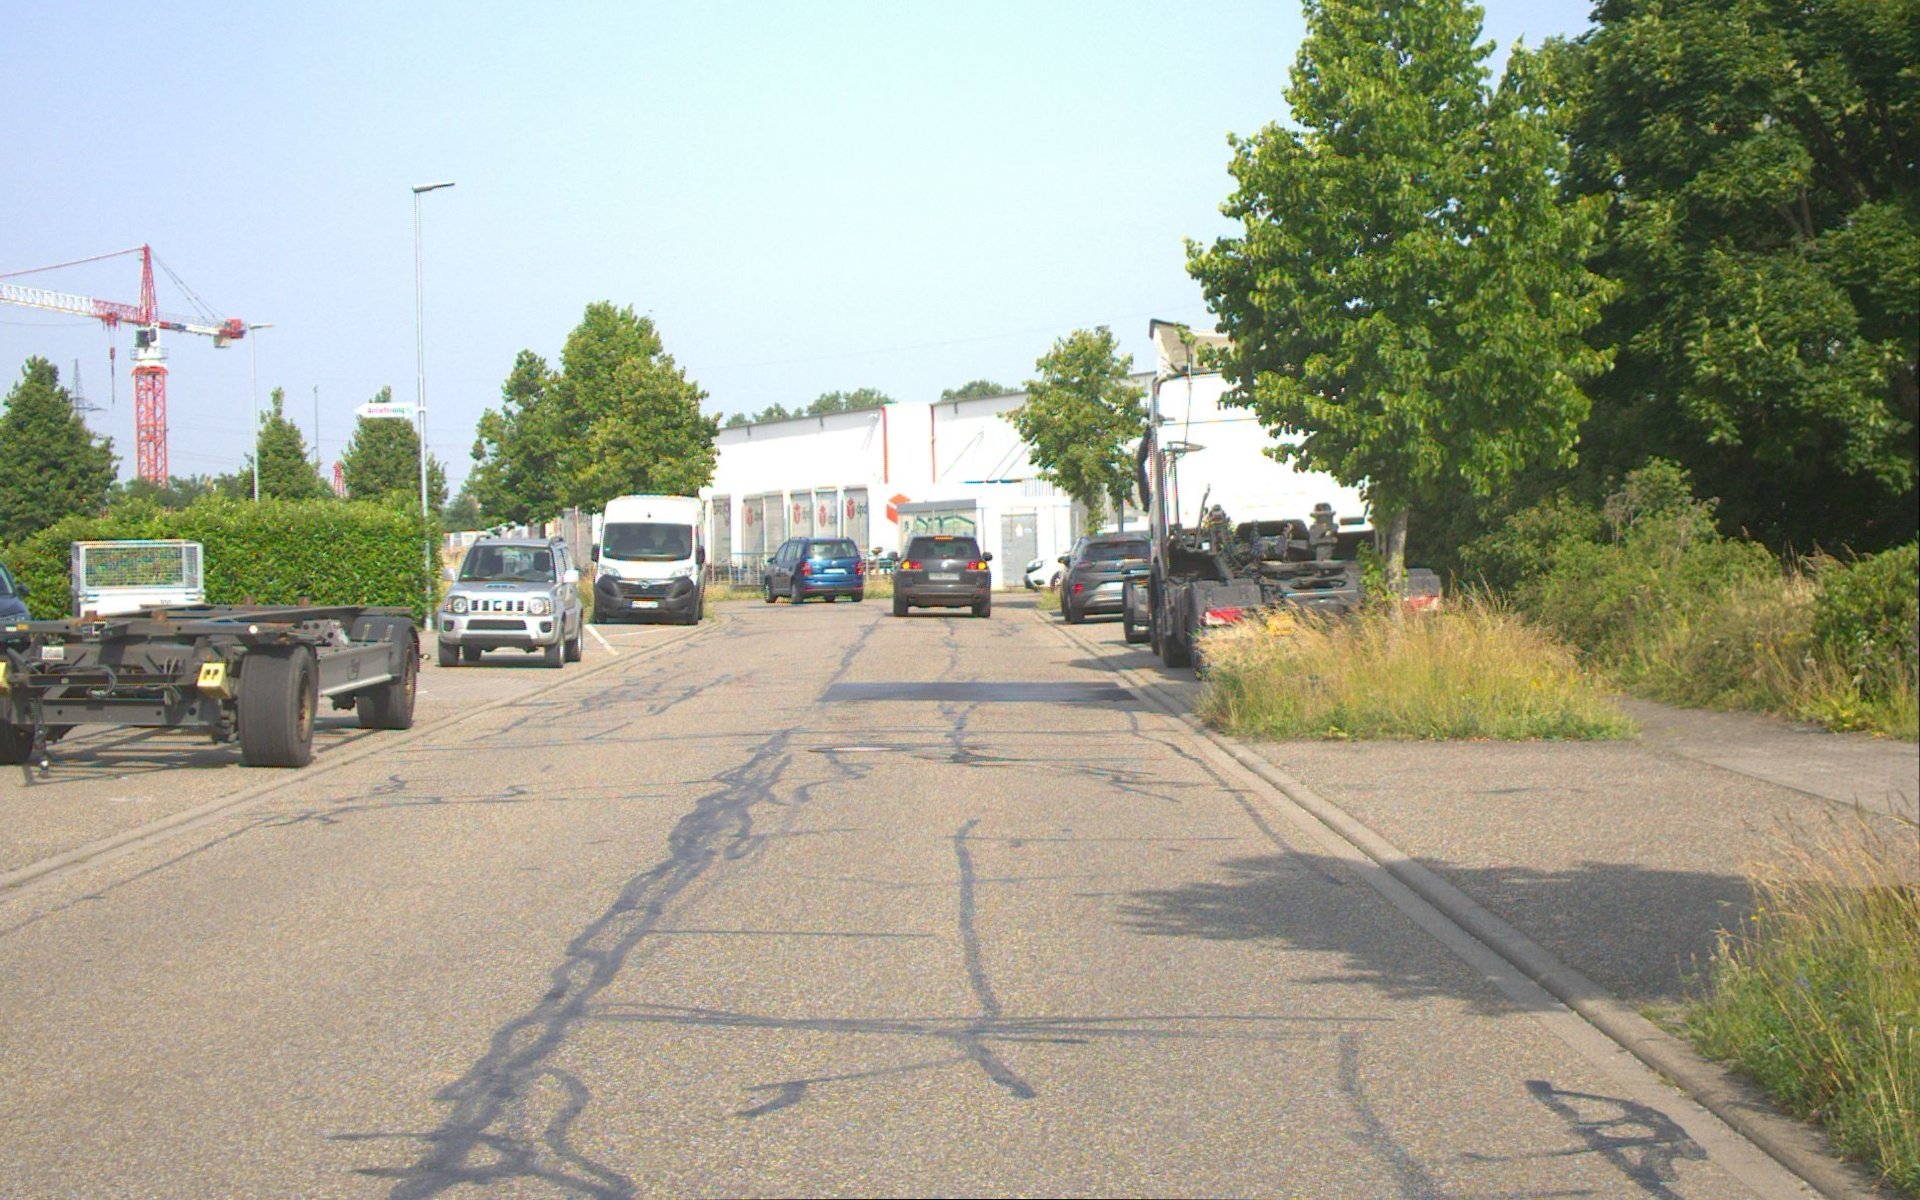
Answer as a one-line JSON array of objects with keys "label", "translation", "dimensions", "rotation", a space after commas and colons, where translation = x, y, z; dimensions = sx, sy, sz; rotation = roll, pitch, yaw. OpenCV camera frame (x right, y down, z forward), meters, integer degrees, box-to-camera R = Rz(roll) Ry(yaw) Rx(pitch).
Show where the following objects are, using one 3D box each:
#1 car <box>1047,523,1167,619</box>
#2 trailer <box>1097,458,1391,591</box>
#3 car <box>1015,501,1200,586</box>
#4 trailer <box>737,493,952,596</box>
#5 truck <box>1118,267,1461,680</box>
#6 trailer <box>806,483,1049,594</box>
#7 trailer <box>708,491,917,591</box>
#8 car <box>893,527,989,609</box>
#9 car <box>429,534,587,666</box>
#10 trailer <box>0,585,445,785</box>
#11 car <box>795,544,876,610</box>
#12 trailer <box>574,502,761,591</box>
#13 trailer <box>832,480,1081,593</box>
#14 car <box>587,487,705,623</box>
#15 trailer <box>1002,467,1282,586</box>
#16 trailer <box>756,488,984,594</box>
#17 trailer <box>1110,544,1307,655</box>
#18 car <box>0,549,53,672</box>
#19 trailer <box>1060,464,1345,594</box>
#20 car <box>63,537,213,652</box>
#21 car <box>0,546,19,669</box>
[{"label": "car", "translation": [2.573, -0.515, 61.177], "dimensions": [1.880, 1.568, 4.113], "rotation": [-2, 0, 0]}, {"label": "trailer", "translation": [8.735, -2.330, 105.613], "dimensions": [8.534, 3.881, 2.776], "rotation": [-1, -2, -21]}, {"label": "car", "translation": [3.808, -1.460, 89.376], "dimensions": [4.609, 2.103, 2.128], "rotation": [-1, 0, -2]}, {"label": "trailer", "translation": [-4.578, -2.205, 137.093], "dimensions": [8.031, 3.880, 2.776], "rotation": [1, 1, -24]}, {"label": "truck", "translation": [3.413, -1.305, 37.142], "dimensions": [2.691, 3.950, 6.049], "rotation": [-3, 1, -2]}, {"label": "trailer", "translation": [-1.177, -2.275, 127.634], "dimensions": [8.534, 3.880, 2.776], "rotation": [1, 1, -24]}, {"label": "trailer", "translation": [-5.980, -2.375, 139.735], "dimensions": [7.960, 3.880, 2.776], "rotation": [1, 1, -24]}, {"label": "car", "translation": [-0.383, -0.638, 69.825], "dimensions": [1.880, 1.581, 4.113], "rotation": [-1, 0, 0]}, {"label": "car", "translation": [-5.939, -0.035, 45.477], "dimensions": [1.597, 1.645, 3.644], "rotation": [-1, 1, 0]}, {"label": "trailer", "translation": [-5.955, 0.517, 26.568], "dimensions": [2.546, 1.070, 9.732], "rotation": [0, 1, 0]}, {"label": "car", "translation": [-3.129, -0.581, 86.224], "dimensions": [1.968, 1.568, 4.114], "rotation": [-1, 0, -2]}, {"label": "trailer", "translation": [-13.384, -2.445, 157.372], "dimensions": [7.960, 3.880, 2.776], "rotation": [1, 1, -24]}, {"label": "trailer", "translation": [-0.111, -2.281, 124.624], "dimensions": [8.534, 3.880, 2.776], "rotation": [1, 1, -24]}, {"label": "car", "translation": [-6.313, -0.919, 69.762], "dimensions": [2.102, 2.586, 6.505], "rotation": [2, 1, -3]}, {"label": "trailer", "translation": [5.941, -2.362, 111.799], "dimensions": [8.730, 3.748, 2.791], "rotation": [0, 0, -23]}, {"label": "trailer", "translation": [-3.470, -2.252, 133.255], "dimensions": [8.305, 3.880, 2.776], "rotation": [1, 1, -24]}, {"label": "trailer", "translation": [3.153, -0.066, 45.016], "dimensions": [1.938, 1.231, 7.452], "rotation": [-3, 1, 0]}, {"label": "car", "translation": [-12.595, 0.104, 43.377], "dimensions": [1.975, 1.471, 4.423], "rotation": [-1, 1, -18]}, {"label": "trailer", "translation": [7.669, -2.254, 108.640], "dimensions": [8.534, 3.880, 2.776], "rotation": [-2, 1, -22]}, {"label": "car", "translation": [-11.718, -0.097, 48.869], "dimensions": [1.833, 1.566, 3.818], "rotation": [1, 1, -17]}, {"label": "car", "translation": [-14.351, 0.081, 48.275], "dimensions": [1.989, 1.652, 4.423], "rotation": [-1, 1, -18]}]
